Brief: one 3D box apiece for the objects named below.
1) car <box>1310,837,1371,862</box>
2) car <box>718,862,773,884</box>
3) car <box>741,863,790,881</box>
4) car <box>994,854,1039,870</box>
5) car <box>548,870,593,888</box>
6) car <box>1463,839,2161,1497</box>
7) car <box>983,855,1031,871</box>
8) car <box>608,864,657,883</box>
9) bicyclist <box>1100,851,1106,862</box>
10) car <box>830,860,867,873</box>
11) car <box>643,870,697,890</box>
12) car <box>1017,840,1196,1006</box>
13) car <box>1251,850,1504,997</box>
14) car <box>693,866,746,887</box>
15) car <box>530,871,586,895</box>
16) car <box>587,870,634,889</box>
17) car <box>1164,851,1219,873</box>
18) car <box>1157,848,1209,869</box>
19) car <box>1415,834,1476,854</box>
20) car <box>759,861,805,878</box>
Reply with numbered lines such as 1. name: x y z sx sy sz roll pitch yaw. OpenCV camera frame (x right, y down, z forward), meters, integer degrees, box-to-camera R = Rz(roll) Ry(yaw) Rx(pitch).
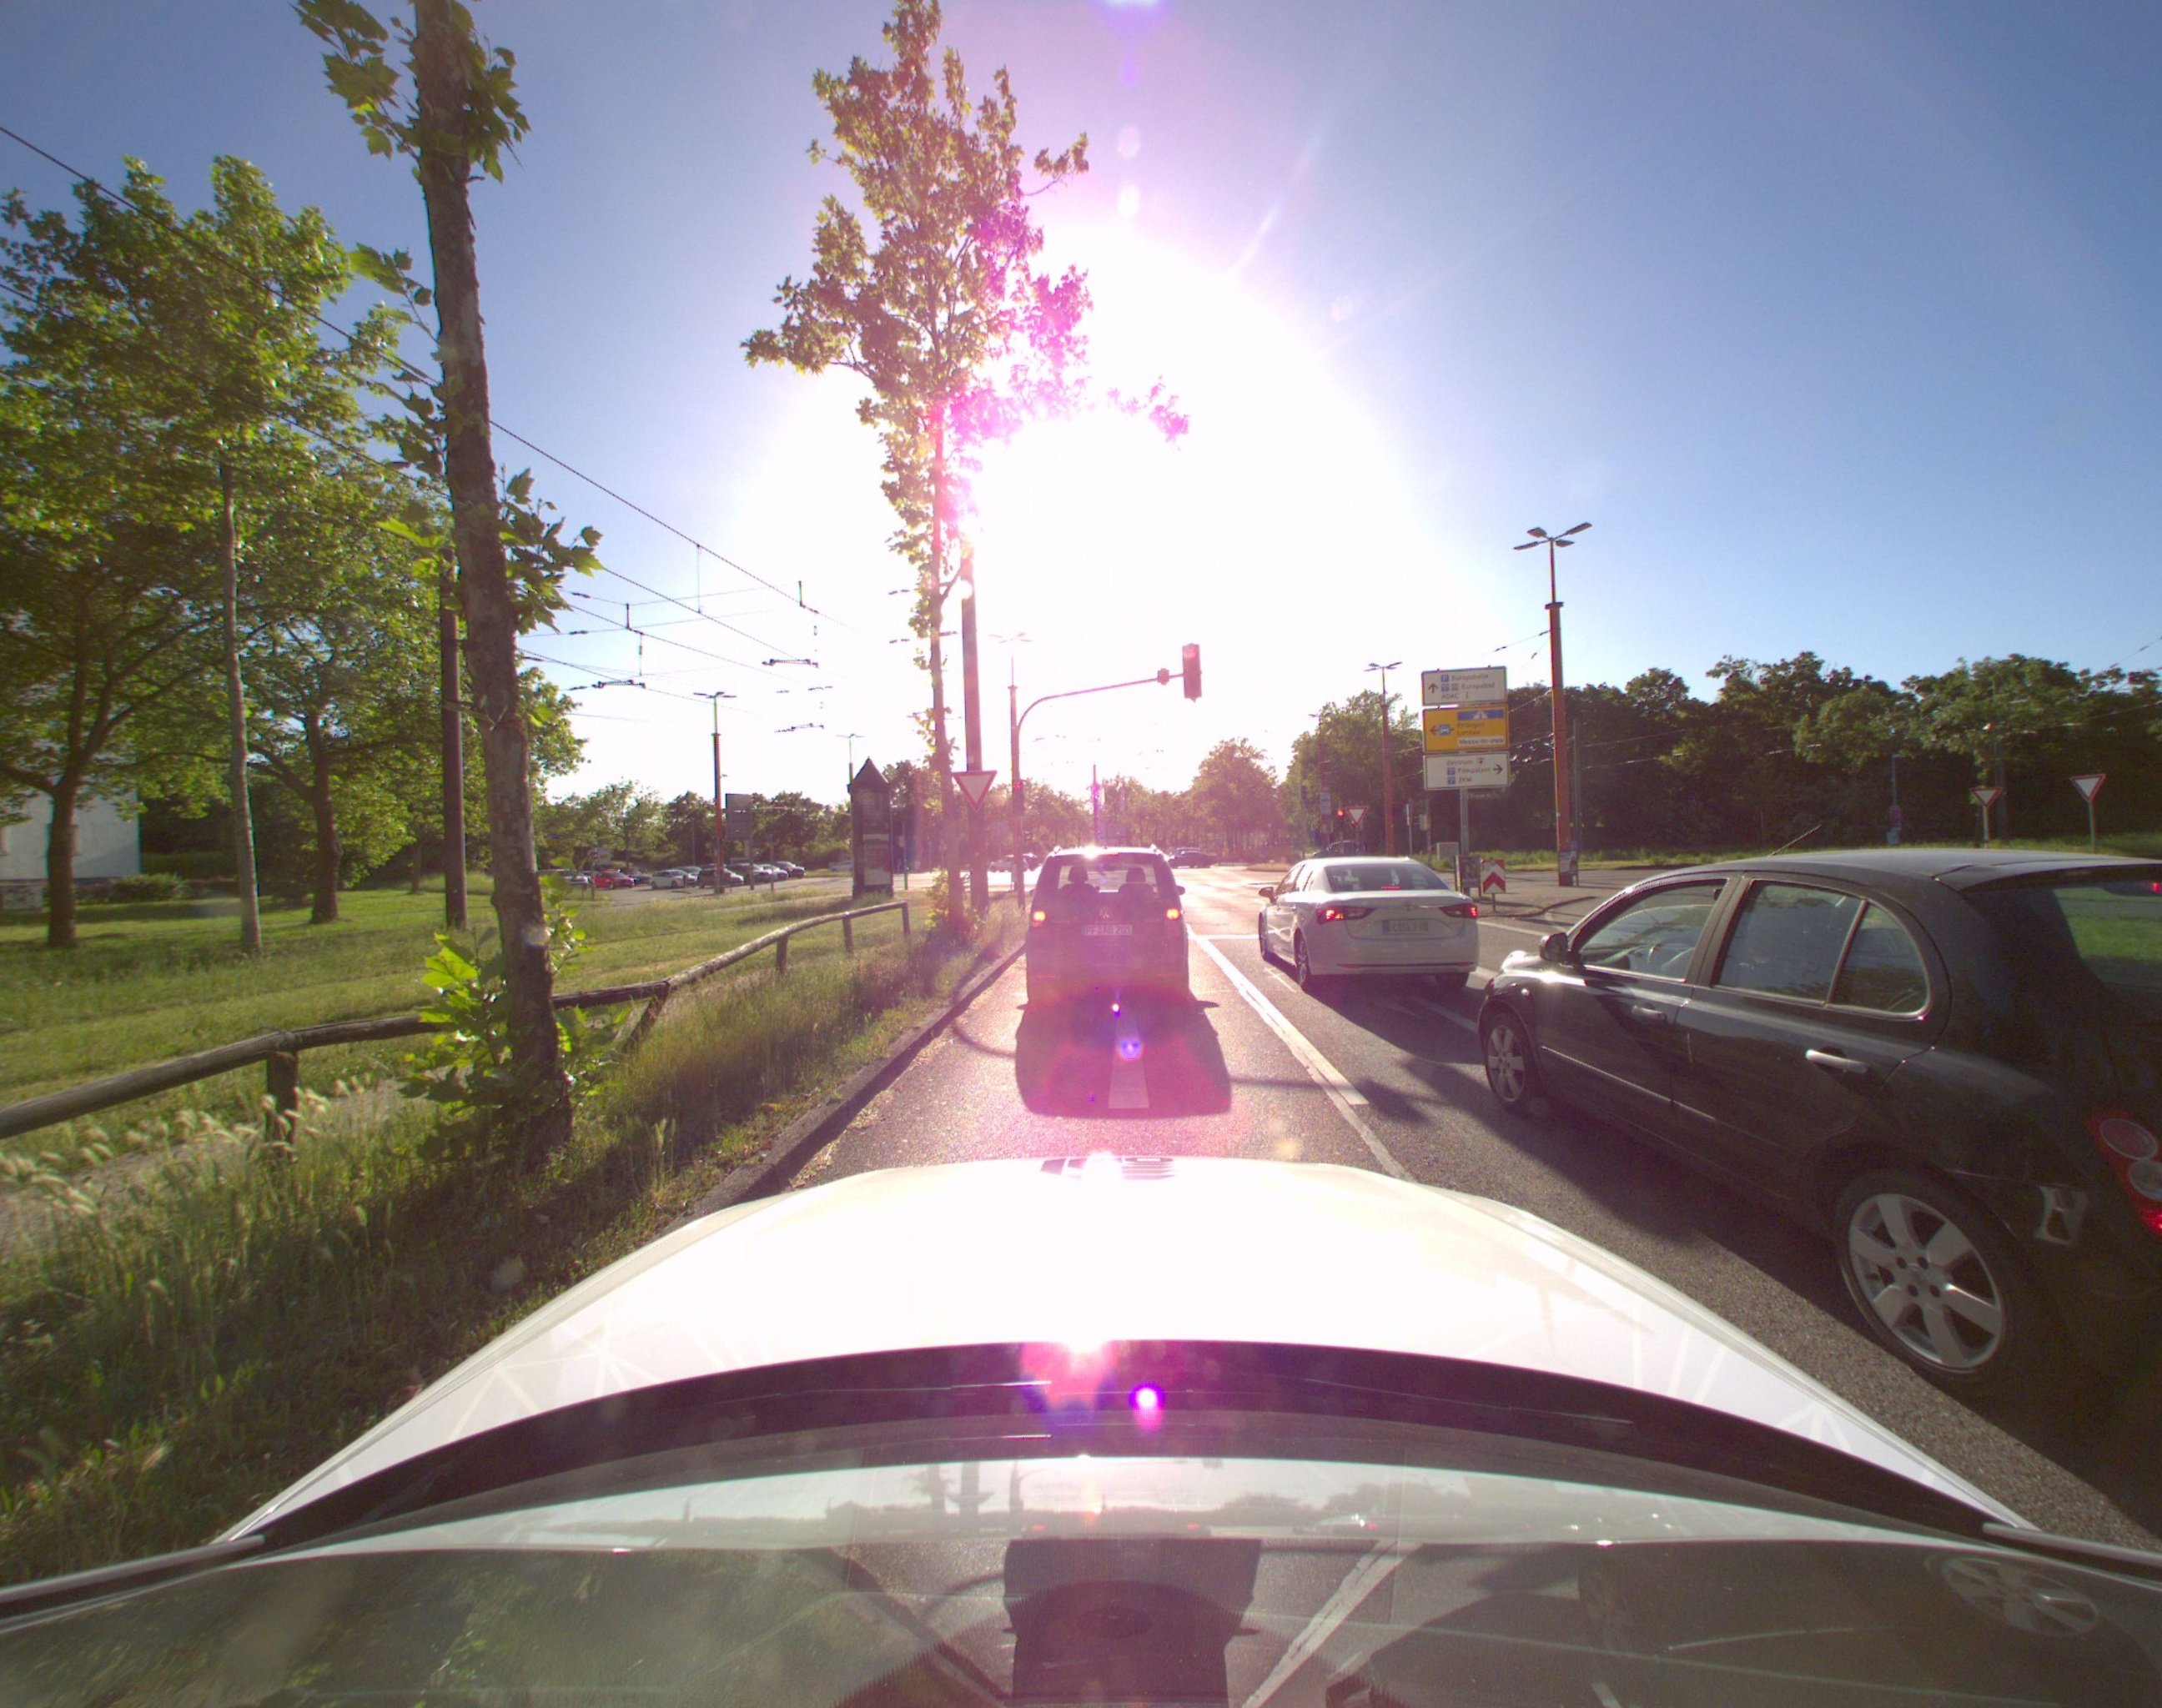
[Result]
1. car: 19.594 -0.337 61.526 4.080 1.791 1.810 -1 0 28
2. car: -26.929 1.516 65.353 4.583 1.647 1.667 -1 0 32
3. car: -26.836 1.523 69.190 4.102 1.415 1.553 -1 0 28
4. car: -6.236 0.759 78.602 4.080 1.471 1.667 -1 0 27
5. car: -45.082 2.221 71.905 4.145 1.520 1.667 -1 0 32
6. car: 3.175 0.695 3.492 1.570 1.440 3.443 0 -1 2
7. car: -6.803 0.832 74.888 4.079 1.403 1.667 -1 0 29
8. car: -40.458 1.727 73.434 4.583 1.647 1.767 -1 0 32
9. bicyclist: 4.059 0.446 150.703 0.971 1.904 1.053 -1 0 8
10. car: -25.637 1.361 89.716 3.757 1.403 1.666 -1 0 25
11. car: -32.668 2.074 64.736 4.577 1.520 1.667 -1 0 32
12. car: 0.361 0.689 10.086 1.731 1.602 4.329 0 -1 3
13. car: 3.368 0.708 10.191 1.792 1.440 4.329 0 0 3
14. car: -27.333 1.695 61.572 3.793 1.441 1.667 -1 0 29
15. car: -41.889 2.283 65.230 4.839 1.821 1.845 -1 0 32
16. car: -39.445 2.150 68.254 4.145 1.520 1.667 -1 0 32
17. car: 9.064 0.661 66.919 4.080 1.791 1.810 -1 0 27
18. car: 8.942 0.391 71.332 4.080 1.791 1.810 -1 0 28
19. car: 27.429 -0.737 61.289 4.080 1.403 1.666 -1 0 27
20. car: -26.733 1.381 72.815 4.102 1.415 1.553 -1 0 28
